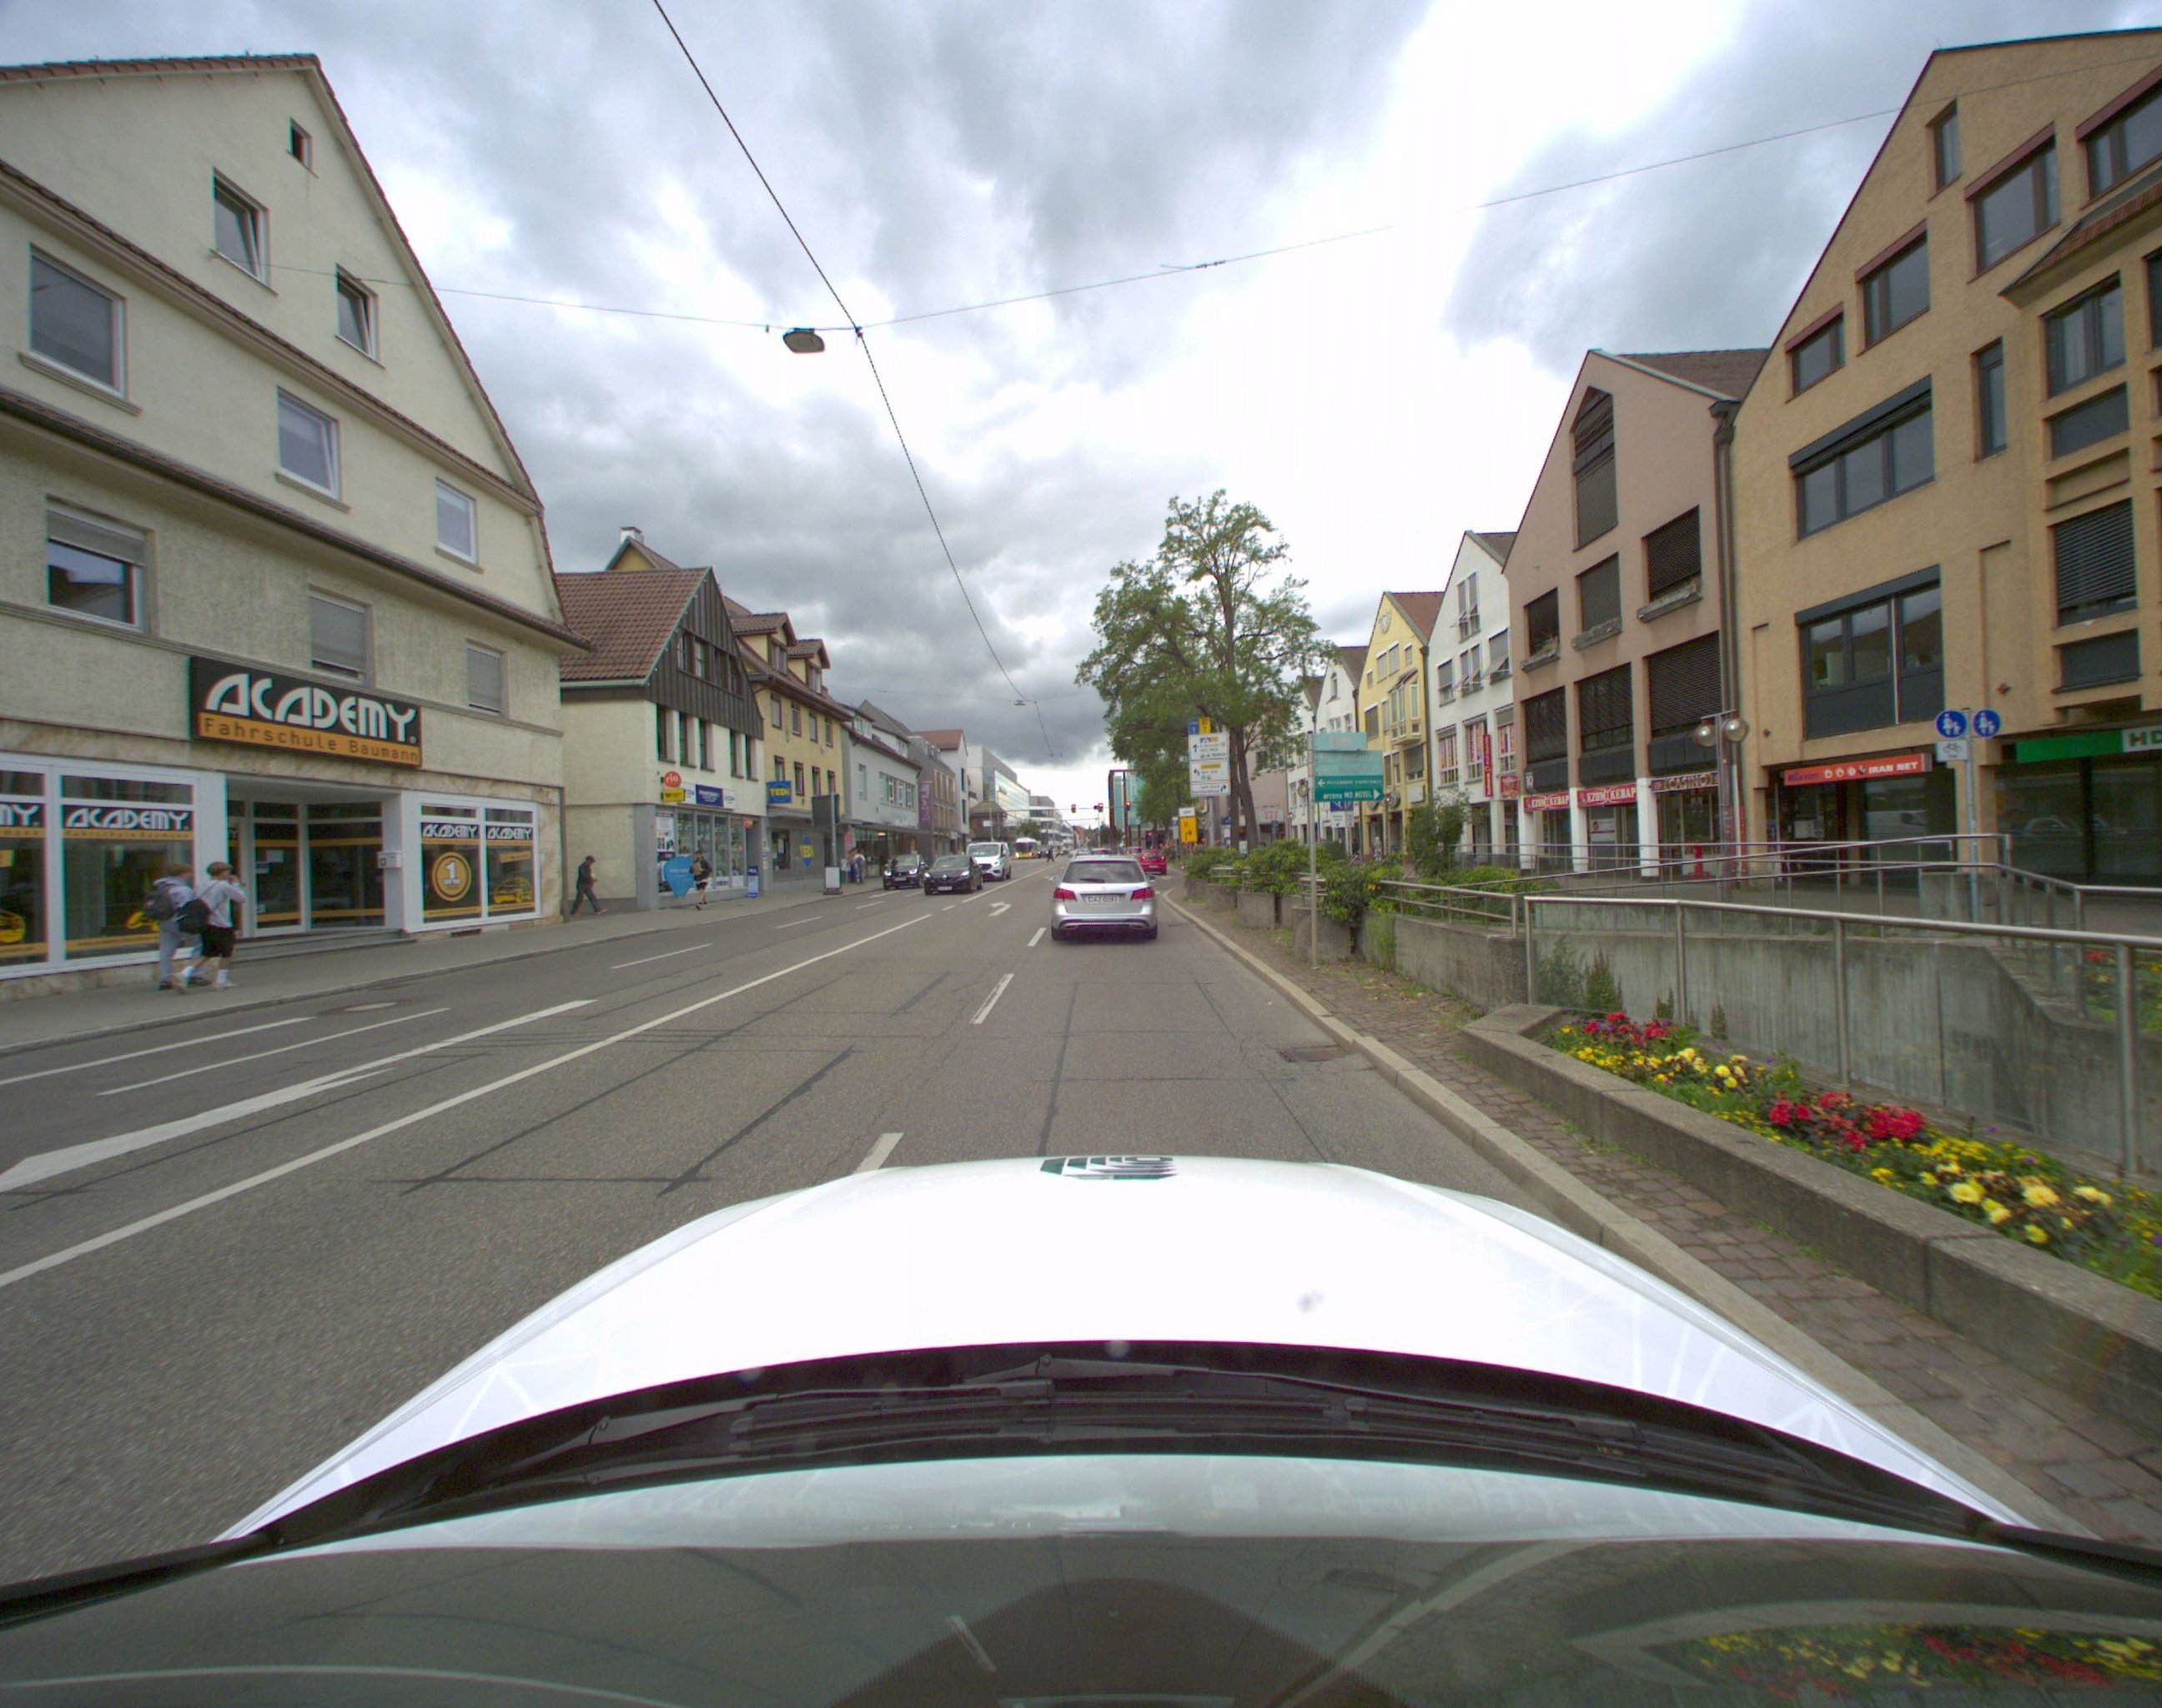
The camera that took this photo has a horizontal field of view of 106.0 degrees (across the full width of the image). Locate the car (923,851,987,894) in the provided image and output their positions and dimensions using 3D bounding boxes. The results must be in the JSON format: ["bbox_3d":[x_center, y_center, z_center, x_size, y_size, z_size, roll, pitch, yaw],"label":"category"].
[{"bbox_3d":[-4.665,0.658,30.627,1.610,1.428,3.925,-3,0,2],"label":"car"}]

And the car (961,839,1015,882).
[{"bbox_3d":[-4.668,0.292,41.582,1.954,1.960,5.141,-3,0,1],"label":"car"}]

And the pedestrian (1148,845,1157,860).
[{"bbox_3d":[7.979,-0.194,90.941,0.832,1.634,0.587,1,0,-3],"label":"pedestrian"}]

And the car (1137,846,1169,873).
[{"bbox_3d":[4.259,0.316,48.646,1.747,1.521,4.003,-1,0,2],"label":"car"}]

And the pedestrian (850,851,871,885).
[{"bbox_3d":[-10.936,0.683,40.369,0.815,1.634,0.979,0,0,-4],"label":"pedestrian"}]

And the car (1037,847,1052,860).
[{"bbox_3d":[-5.764,-0.133,128.951,1.986,2.013,4.002,-2,0,2],"label":"car"}]

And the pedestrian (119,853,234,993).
[{"bbox_3d":[-12.018,0.889,10.846,0.685,1.761,0.681,-3,0,1],"label":"pedestrian"}]

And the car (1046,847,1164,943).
[{"bbox_3d":[0.370,0.652,15.074,1.868,1.506,3.999,-1,0,-1],"label":"car"}]

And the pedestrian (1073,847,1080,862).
[{"bbox_3d":[-0.514,0.063,89.539,0.612,1.634,0.586,1,0,-8],"label":"pedestrian"}]

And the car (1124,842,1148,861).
[{"bbox_3d":[4.995,-0.237,74.104,1.986,1.684,4.002,-2,0,2],"label":"car"}]

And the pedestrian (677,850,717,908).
[{"bbox_3d":[-11.770,0.755,24.979,0.865,1.746,0.805,1,0,-4],"label":"pedestrian"}]

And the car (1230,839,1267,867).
[{"bbox_3d":[11.800,-0.060,57.644,1.860,1.864,4.001,-2,0,1],"label":"car"}]

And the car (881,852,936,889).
[{"bbox_3d":[-7.908,0.742,37.620,1.611,1.523,3.508,-3,0,1],"label":"car"}]

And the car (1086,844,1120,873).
[{"bbox_3d":[1.383,0.231,51.158,1.986,1.684,4.002,-2,0,2],"label":"car"}]

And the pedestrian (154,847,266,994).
[{"bbox_3d":[-11.332,0.836,10.618,0.631,1.824,0.681,-3,0,1],"label":"pedestrian"}]

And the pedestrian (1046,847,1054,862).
[{"bbox_3d":[-3.449,0.049,91.227,0.854,1.634,0.588,1,0,3],"label":"pedestrian"}]

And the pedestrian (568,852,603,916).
[{"bbox_3d":[-13.917,0.830,22.890,0.809,1.746,0.861,1,1,-31],"label":"pedestrian"}]

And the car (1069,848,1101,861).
[{"bbox_3d":[0.493,0.081,106.631,4.084,1.541,1.581,-2,0,2],"label":"car"}]

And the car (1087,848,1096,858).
[{"bbox_3d":[2.332,-0.150,176.548,1.986,2.013,4.001,-2,0,1],"label":"car"}]

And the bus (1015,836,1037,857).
[{"bbox_3d":[-8.803,-1.199,130.239,2.765,3.165,5.935,-2,0,2],"label":"bus"}]
